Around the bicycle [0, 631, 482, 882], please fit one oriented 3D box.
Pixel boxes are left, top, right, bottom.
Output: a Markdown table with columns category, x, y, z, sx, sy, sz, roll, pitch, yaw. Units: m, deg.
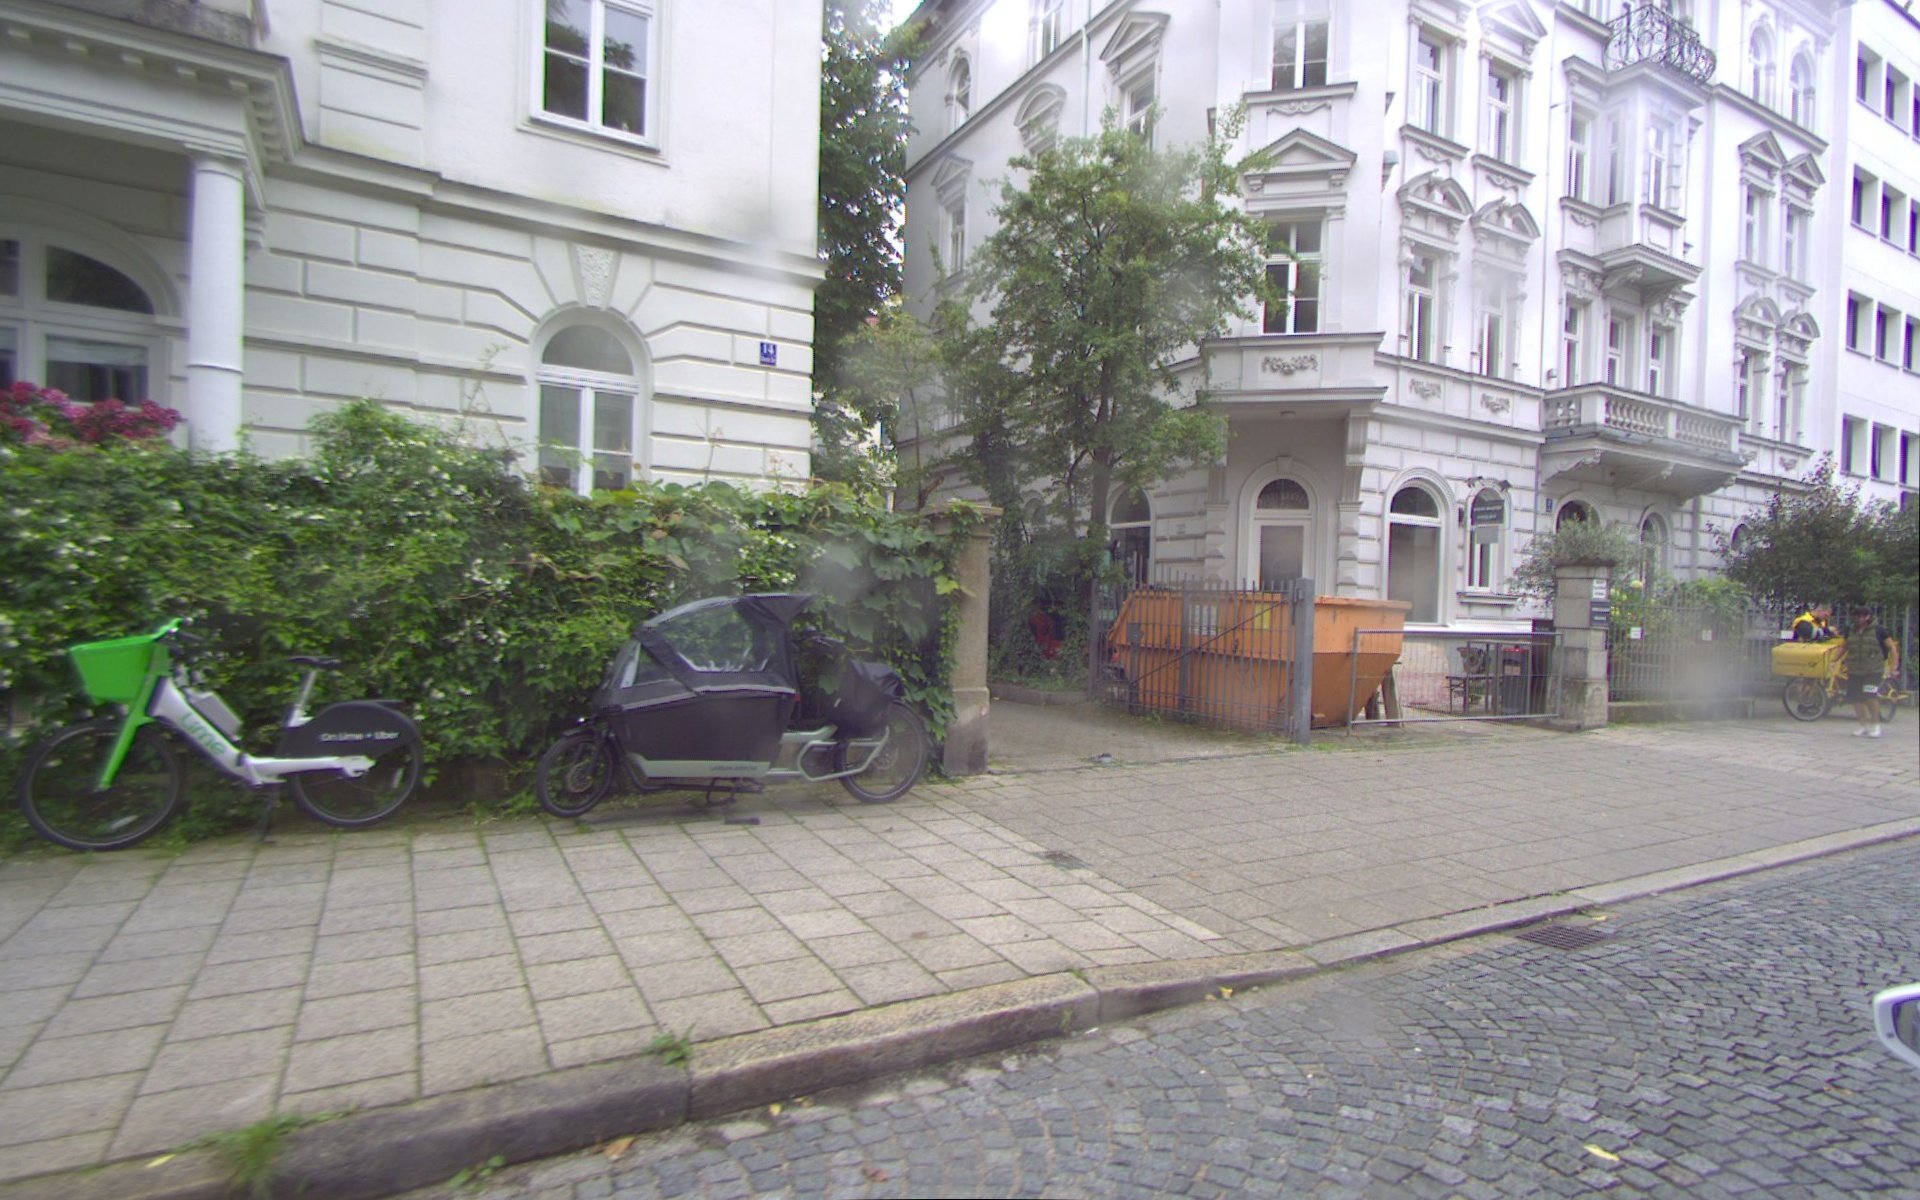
| category | x | y | z | sx | sy | sz | roll | pitch | yaw |
| --- | --- | --- | --- | --- | --- | --- | --- | --- | --- |
| bicycle | -3.721 | 0.750 | 5.398 | 2.027 | 1.137 | 0.574 | 1 | 0 | -31 |

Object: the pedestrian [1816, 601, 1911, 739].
| category | x | y | z | sx | sy | sz | roll | pitch | yaw |
| --- | --- | --- | --- | --- | --- | --- | --- | --- | --- |
| pedestrian | 11.707 | 0.885 | 13.020 | 0.711 | 1.710 | 0.690 | 1 | 0 | -30 |

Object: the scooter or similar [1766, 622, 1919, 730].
| category | x | y | z | sx | sy | sz | roll | pitch | yaw |
| --- | --- | --- | --- | --- | --- | --- | --- | --- | --- |
| scooter or similar | 13.162 | 1.083 | 14.927 | 2.625 | 1.461 | 0.937 | 1 | 0 | -30 |

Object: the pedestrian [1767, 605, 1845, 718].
| category | x | y | z | sx | sy | sz | roll | pitch | yaw |
| --- | --- | --- | --- | --- | --- | --- | --- | --- | --- |
| pedestrian | 13.275 | 0.948 | 15.760 | 0.687 | 1.710 | 0.714 | 1 | 0 | -30 |

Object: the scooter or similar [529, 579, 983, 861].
| category | x | y | z | sx | sy | sz | roll | pitch | yaw |
| --- | --- | --- | --- | --- | --- | --- | --- | --- | --- |
| scooter or similar | -1.231 | 0.651 | 6.341 | 2.626 | 1.461 | 0.936 | 1 | 2 | -31 |
